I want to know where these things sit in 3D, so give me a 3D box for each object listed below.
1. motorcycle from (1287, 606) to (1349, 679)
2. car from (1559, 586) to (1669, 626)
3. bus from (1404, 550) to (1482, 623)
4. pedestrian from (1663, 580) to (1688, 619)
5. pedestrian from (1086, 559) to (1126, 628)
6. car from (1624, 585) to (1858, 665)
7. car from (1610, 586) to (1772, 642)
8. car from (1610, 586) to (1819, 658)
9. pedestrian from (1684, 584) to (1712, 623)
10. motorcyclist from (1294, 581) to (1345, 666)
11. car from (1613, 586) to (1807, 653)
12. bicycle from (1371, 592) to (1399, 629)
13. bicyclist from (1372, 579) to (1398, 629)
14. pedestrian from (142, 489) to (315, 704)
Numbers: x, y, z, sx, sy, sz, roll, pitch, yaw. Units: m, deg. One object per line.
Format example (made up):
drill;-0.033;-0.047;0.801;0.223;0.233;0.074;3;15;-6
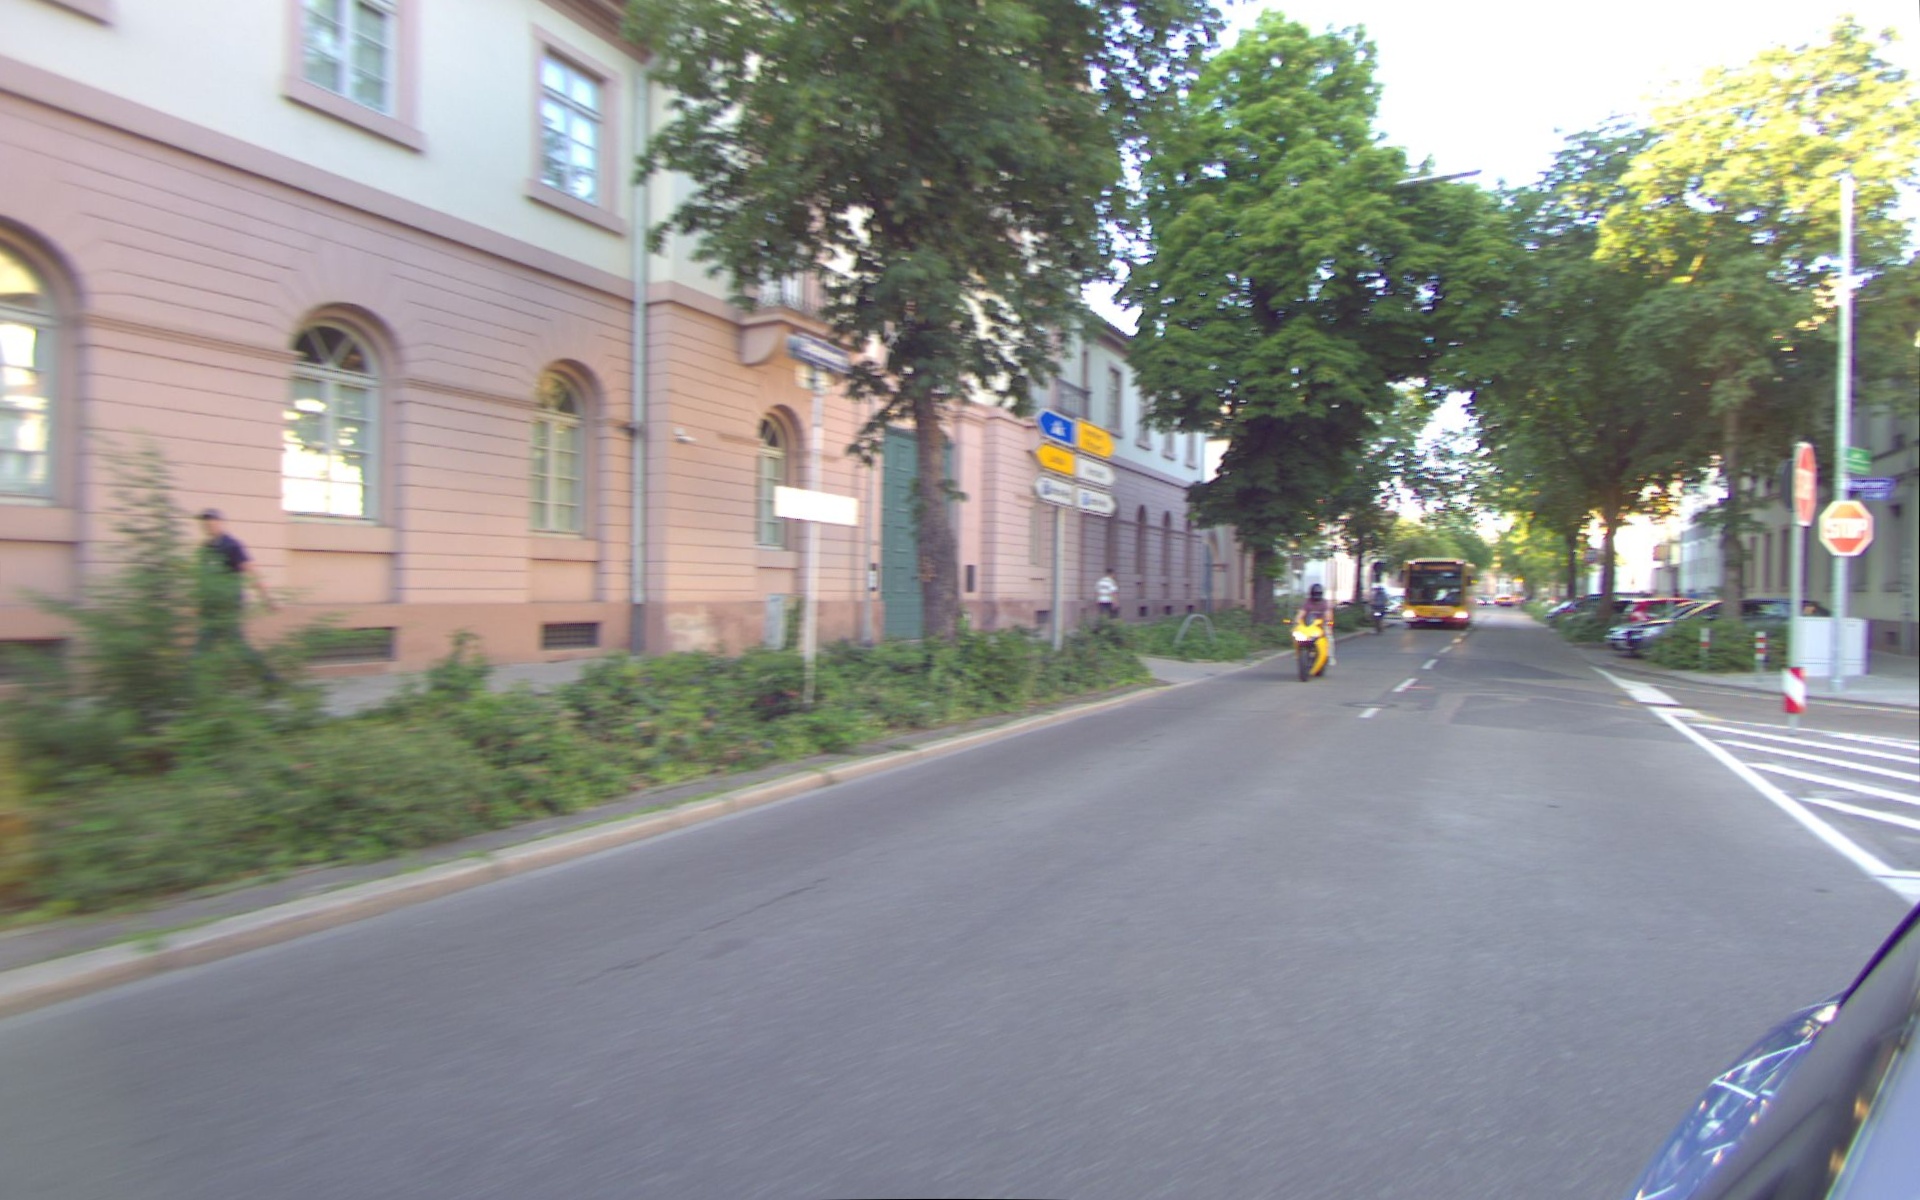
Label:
motorcycle;6.306;0.709;17.752;0.786;1.175;1.949;0;0;27
car;29.176;0.231;45.291;3.962;1.635;1.707;1;1;28
bus;23.068;-0.609;47.978;2.689;3.038;11.960;-1;0;29
pedestrian;34.163;-0.030;48.305;0.799;1.793;1.011;1;1;28
pedestrian;3.997;-0.183;27.700;0.793;1.855;0.921;1;1;27
car;17.879;0.521;23.430;3.962;1.635;1.811;2;1;28
car;23.396;0.413;32.589;3.962;1.635;1.707;1;1;28
car;18.892;0.501;25.586;3.962;1.635;1.707;1;1;28
pedestrian;34.912;0.156;47.890;0.887;1.793;1.011;1;1;28
motorcyclist;6.317;0.399;17.777;0.785;1.438;0.693;0;0;26
car;20.265;0.478;27.570;3.962;1.635;1.707;1;1;28
bicycle;16.000;0.378;38.075;0.777;1.346;2.057;-1;0;28
bicyclist;15.976;0.144;38.039;0.777;1.862;0.818;-1;0;29
pedestrian;-6.781;-0.050;9.398;0.796;1.861;1.068;4;2;36
